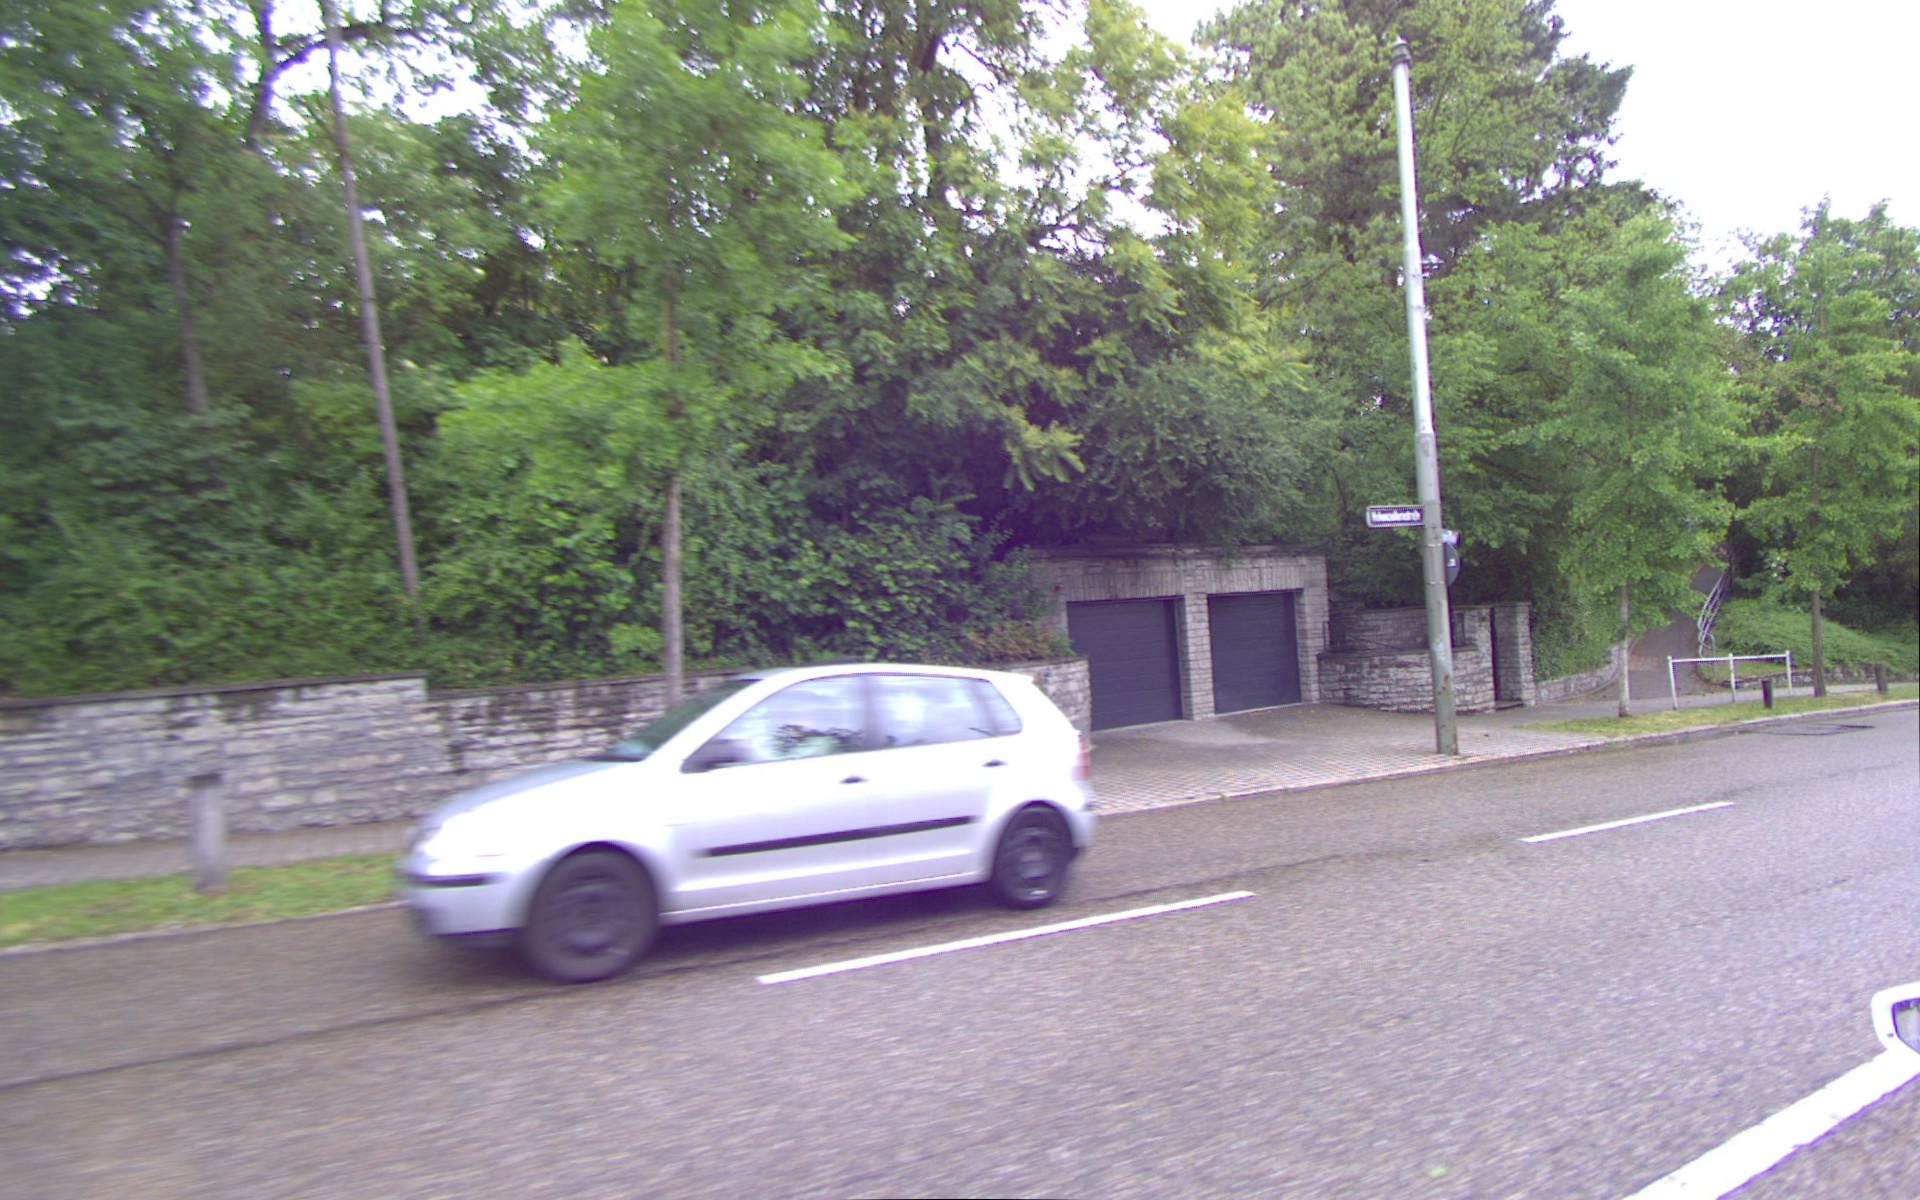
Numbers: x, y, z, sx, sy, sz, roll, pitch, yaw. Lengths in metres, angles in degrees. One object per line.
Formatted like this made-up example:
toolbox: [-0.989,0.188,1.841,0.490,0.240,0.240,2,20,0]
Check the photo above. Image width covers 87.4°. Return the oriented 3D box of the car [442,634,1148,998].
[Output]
car: [-0.932,1.024,5.978,3.756,1.504,1.758,1,-6,-30]
